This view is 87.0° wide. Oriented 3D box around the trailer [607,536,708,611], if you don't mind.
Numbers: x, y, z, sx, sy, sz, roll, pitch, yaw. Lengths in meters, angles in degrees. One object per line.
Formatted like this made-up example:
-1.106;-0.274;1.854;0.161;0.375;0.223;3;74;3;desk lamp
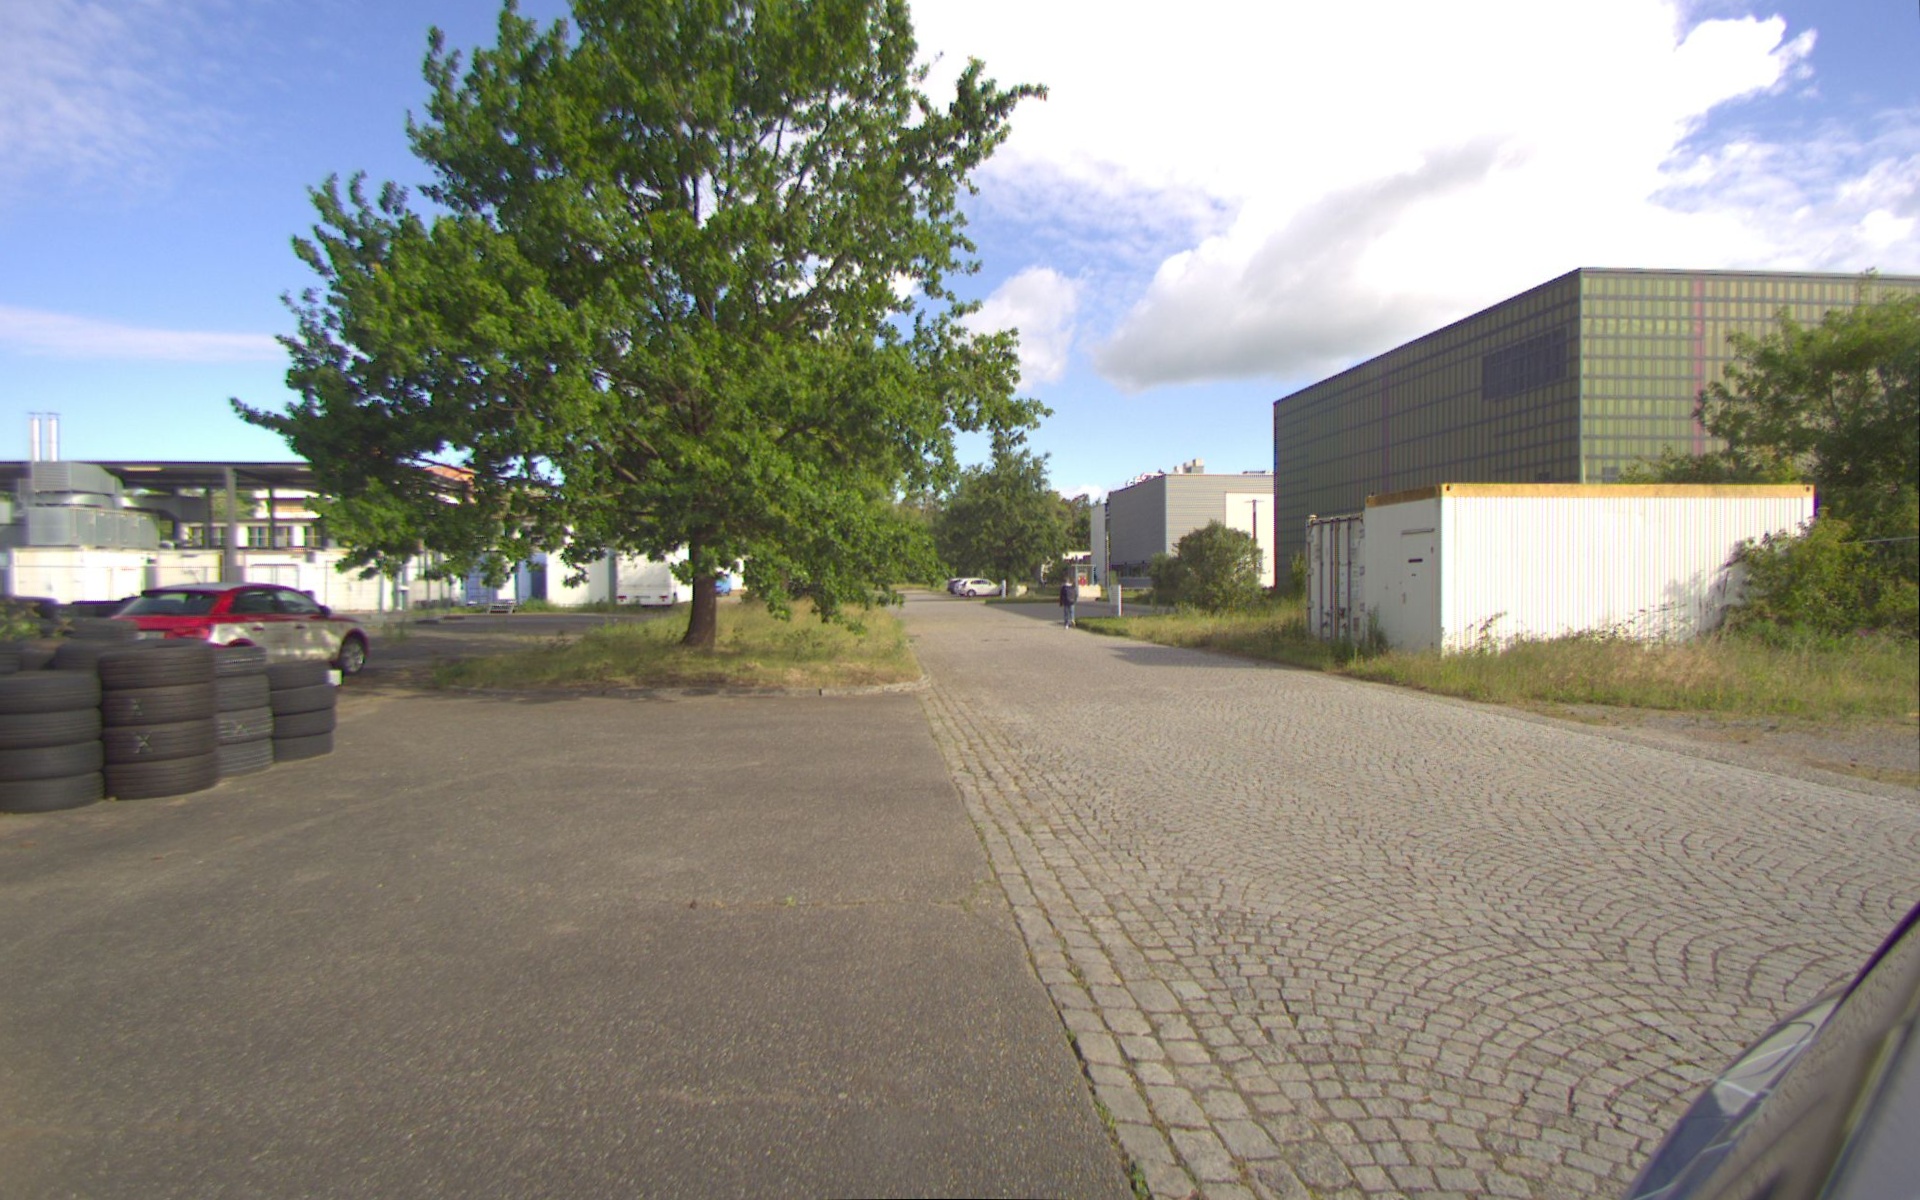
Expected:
-15.458;-1.350;52.517;2.869;3.514;9.910;0;1;-4;trailer

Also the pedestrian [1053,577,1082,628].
3.401;0.069;32.115;0.852;1.578;1.027;0;1;2;pedestrian

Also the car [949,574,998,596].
1.075;-1.220;81.810;3.924;1.663;2.000;0;1;0;car

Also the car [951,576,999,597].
1.211;-1.132;84.455;3.924;1.663;2.000;0;1;0;car

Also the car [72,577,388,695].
-10.350;0.414;14.785;1.696;1.482;3.999;0;1;1;car
